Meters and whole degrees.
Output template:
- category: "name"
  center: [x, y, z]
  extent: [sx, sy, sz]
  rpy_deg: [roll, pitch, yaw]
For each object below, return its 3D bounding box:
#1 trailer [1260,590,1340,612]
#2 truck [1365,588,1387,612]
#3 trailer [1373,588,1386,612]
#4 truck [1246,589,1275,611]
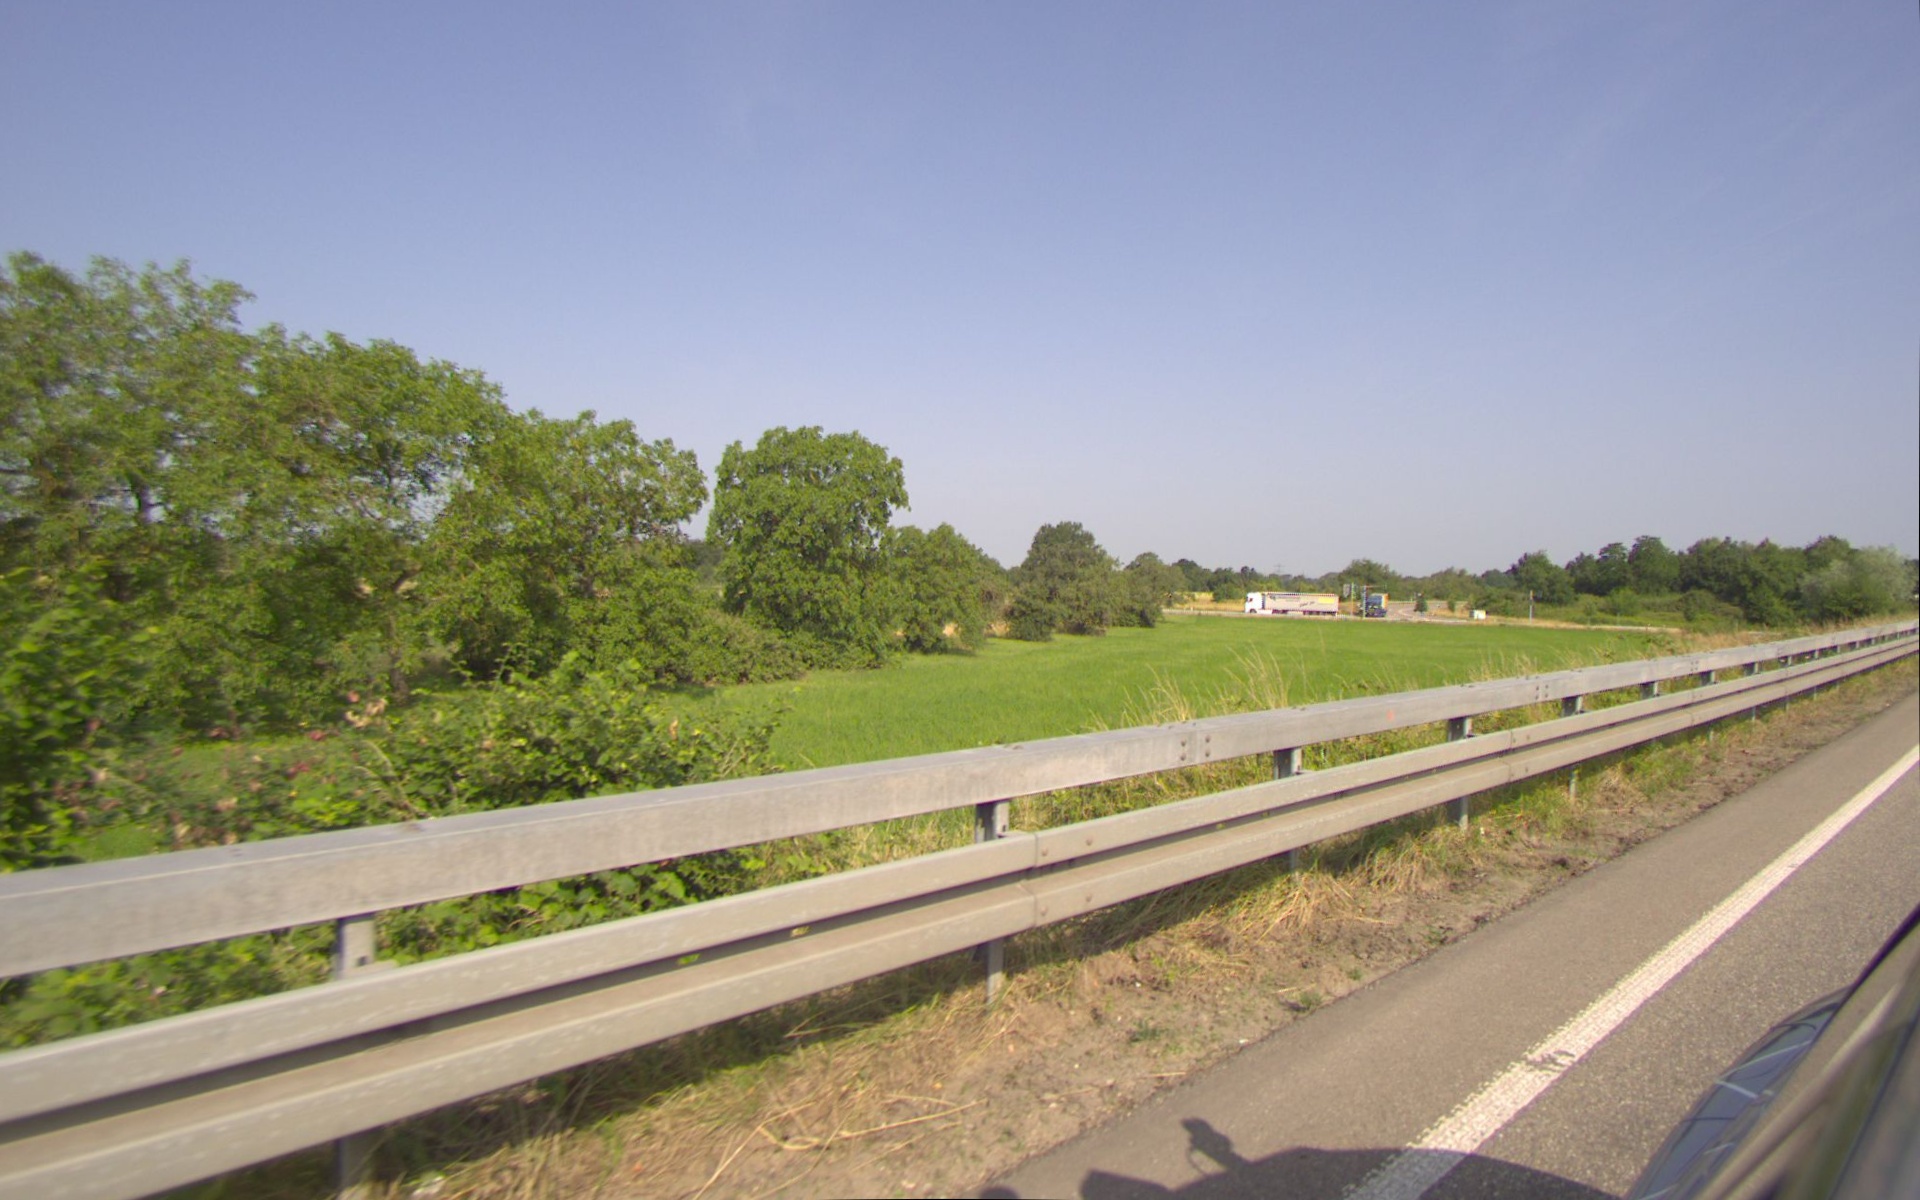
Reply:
- category: "trailer"
  center: [61.871, 0.098, 184.126]
  extent: [13.670, 3.699, 2.108]
  rpy_deg: [1, 0, 2]
- category: "truck"
  center: [77.046, -0.001, 187.510]
  extent: [2.256, 4.222, 4.301]
  rpy_deg: [2, 1, 45]
- category: "trailer"
  center: [80.185, -0.057, 193.323]
  extent: [2.237, 4.221, 14.312]
  rpy_deg: [1, 1, 23]
- category: "truck"
  center: [54.728, -0.011, 184.507]
  extent: [4.872, 3.724, 2.098]
  rpy_deg: [1, 0, 16]
